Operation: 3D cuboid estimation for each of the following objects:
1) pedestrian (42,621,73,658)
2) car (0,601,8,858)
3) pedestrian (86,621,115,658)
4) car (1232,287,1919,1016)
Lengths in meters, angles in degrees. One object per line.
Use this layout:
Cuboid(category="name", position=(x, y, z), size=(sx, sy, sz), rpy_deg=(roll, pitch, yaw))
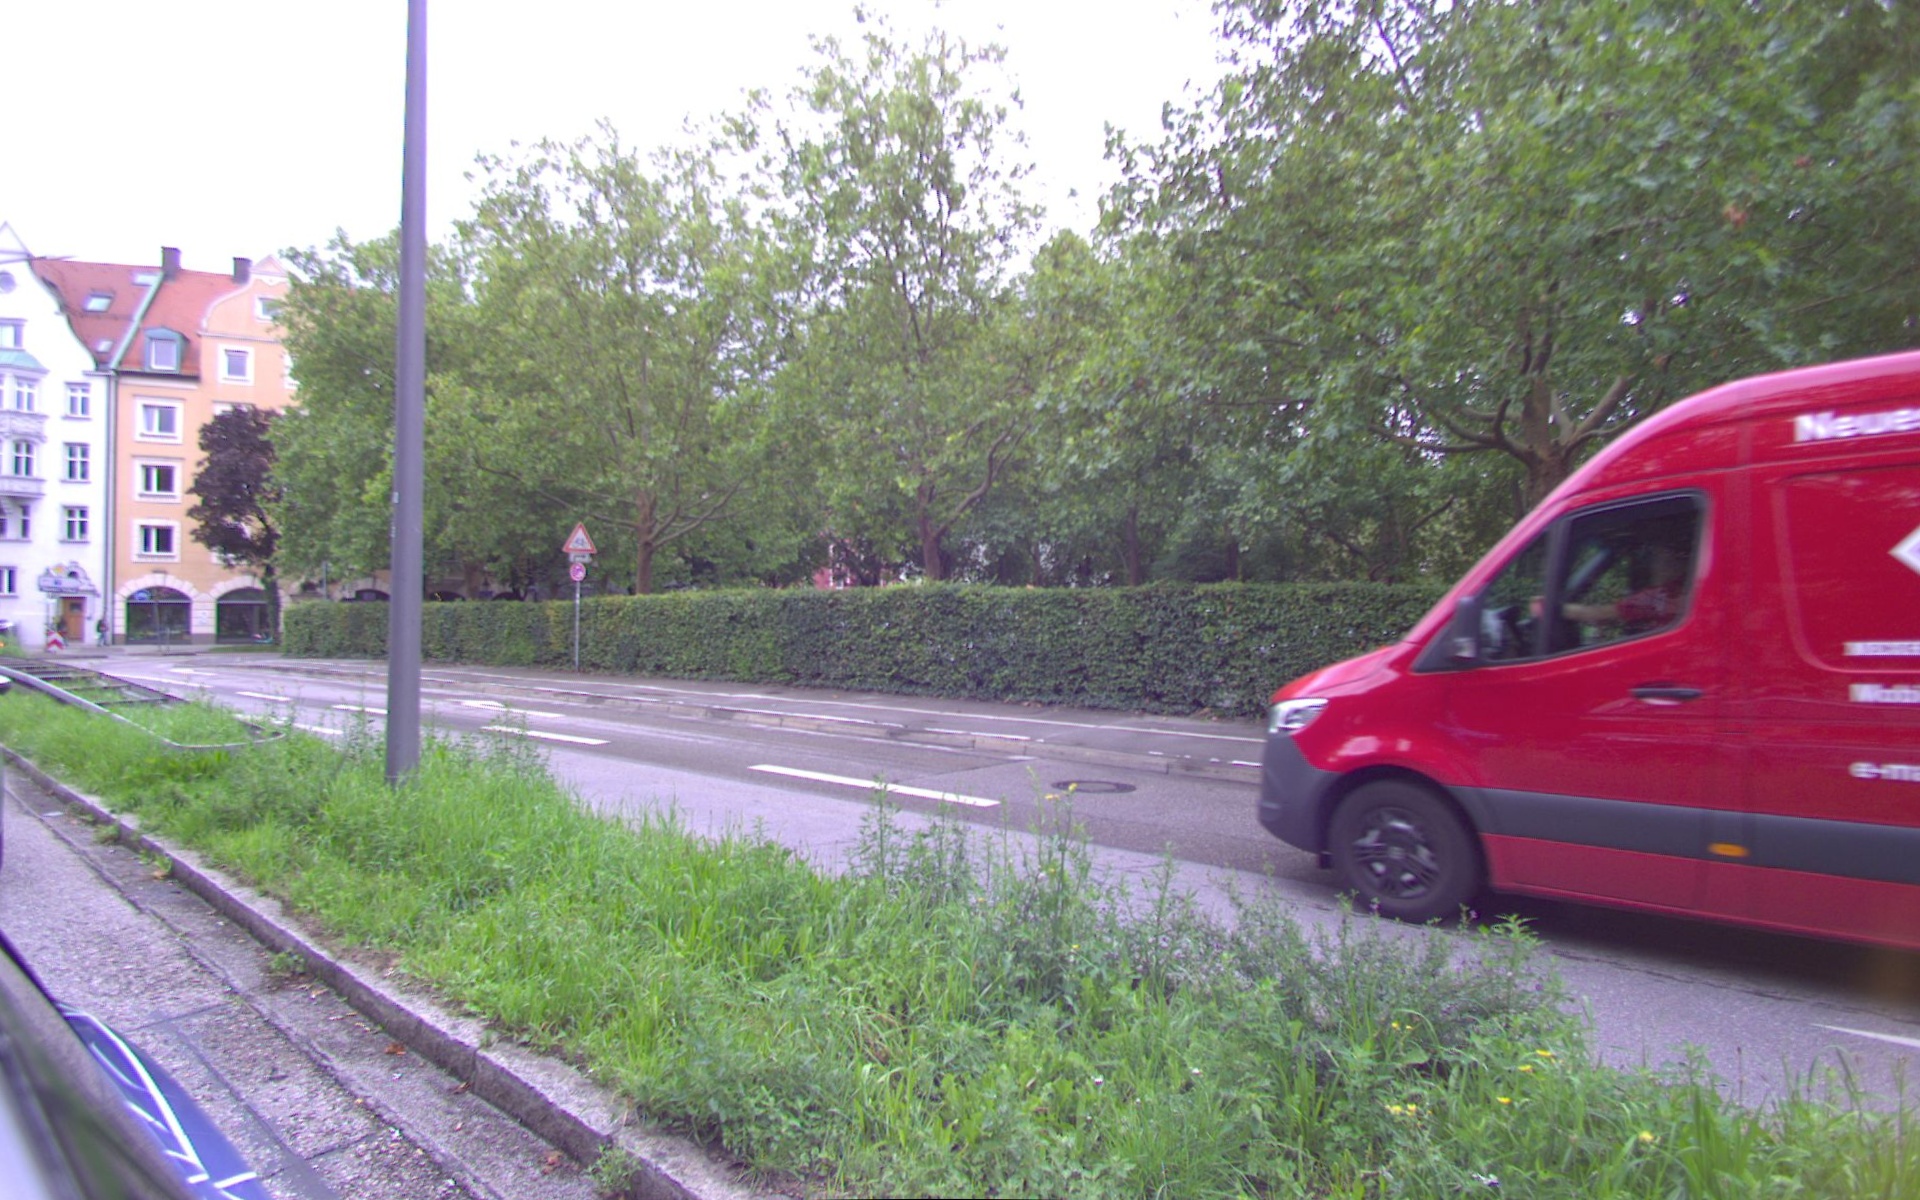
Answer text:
Cuboid(category="pedestrian", position=(-50.887, 2.220, 57.065), size=(0.991, 2.029, 0.881), rpy_deg=(-1, 0, -18))
Cuboid(category="car", position=(-6.718, 0.795, 5.586), size=(3.884, 1.542, 1.688), rpy_deg=(-1, -2, 40))
Cuboid(category="pedestrian", position=(-48.362, 2.191, 56.946), size=(0.991, 2.029, 0.881), rpy_deg=(-1, 0, -18))
Cuboid(category="car", position=(4.400, 0.192, 4.136), size=(6.083, 2.609, 2.079), rpy_deg=(-3, -4, 44))
